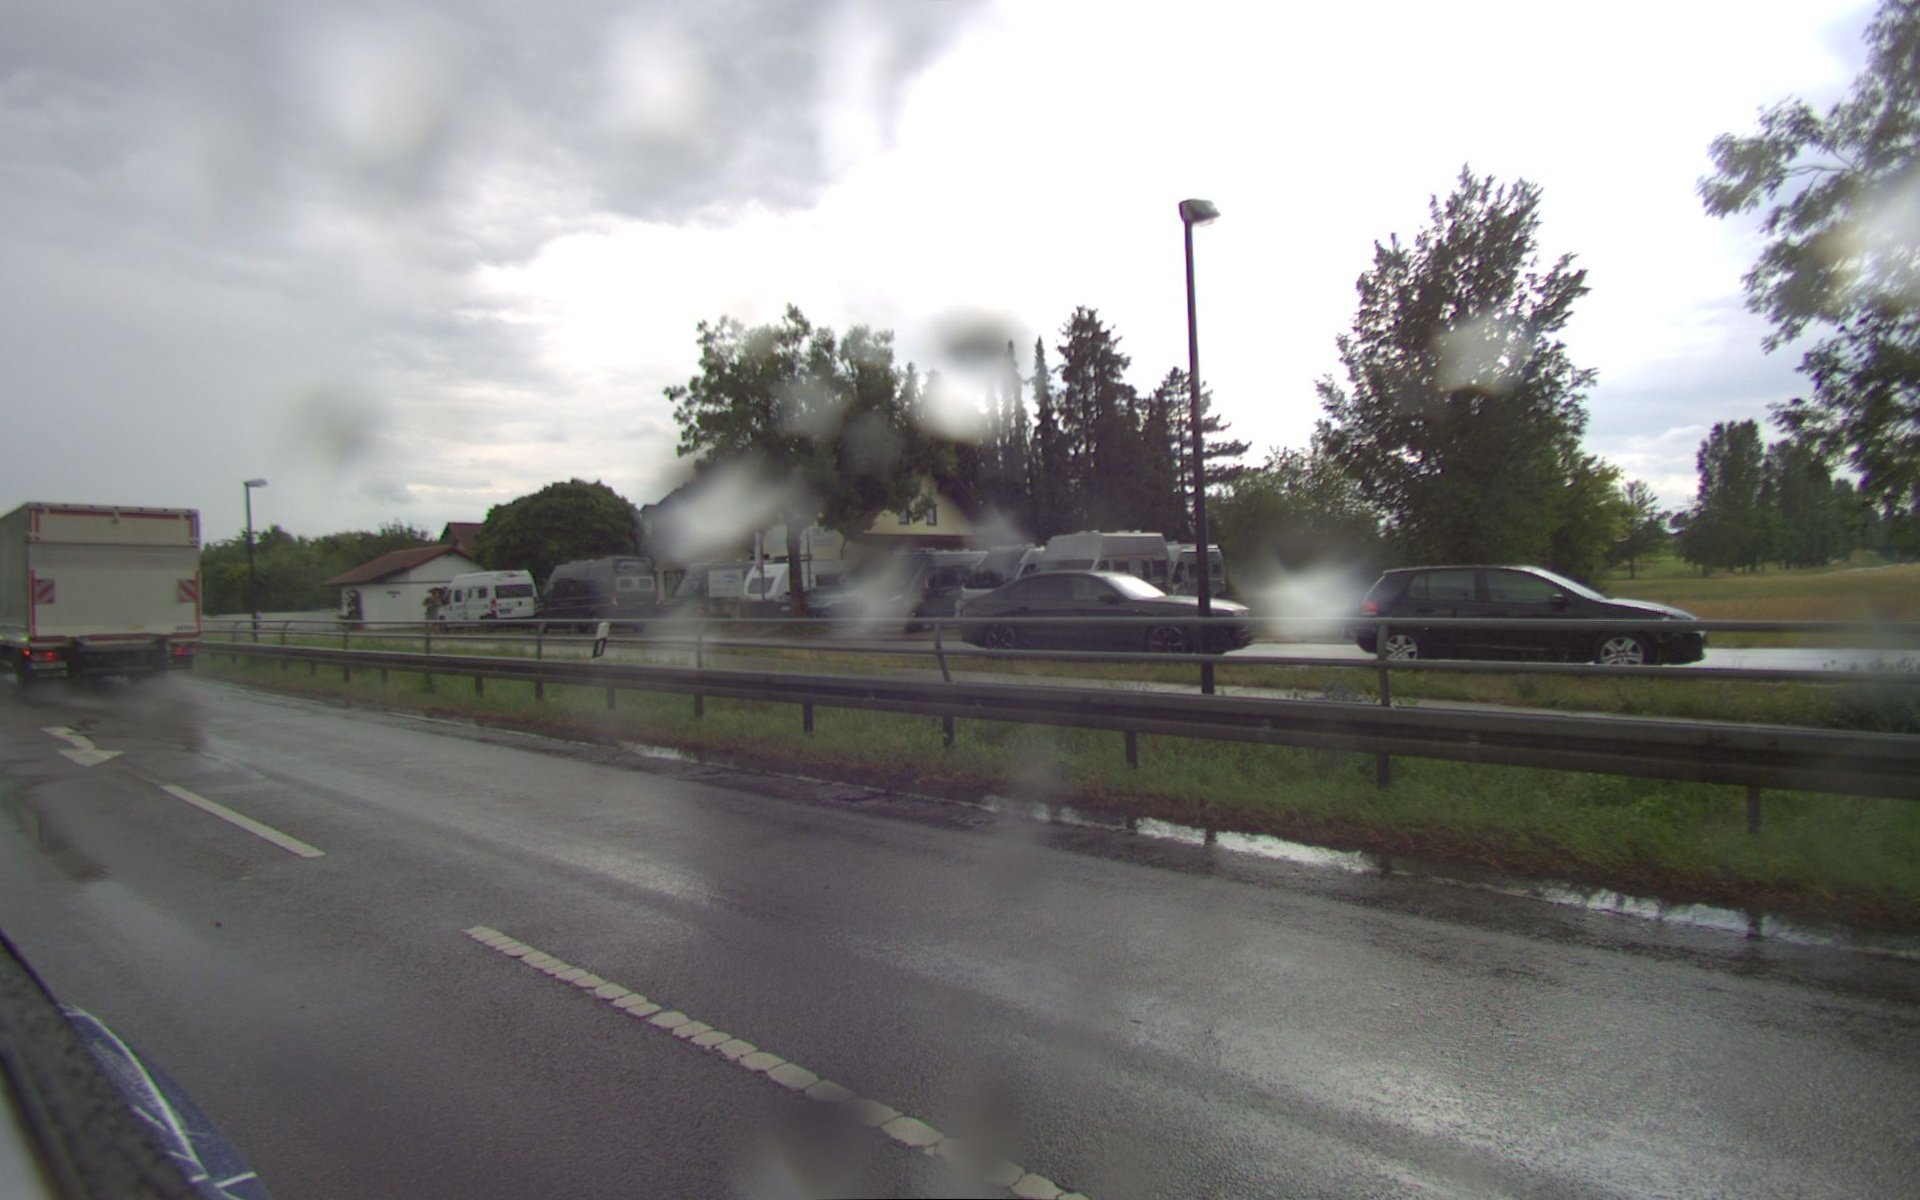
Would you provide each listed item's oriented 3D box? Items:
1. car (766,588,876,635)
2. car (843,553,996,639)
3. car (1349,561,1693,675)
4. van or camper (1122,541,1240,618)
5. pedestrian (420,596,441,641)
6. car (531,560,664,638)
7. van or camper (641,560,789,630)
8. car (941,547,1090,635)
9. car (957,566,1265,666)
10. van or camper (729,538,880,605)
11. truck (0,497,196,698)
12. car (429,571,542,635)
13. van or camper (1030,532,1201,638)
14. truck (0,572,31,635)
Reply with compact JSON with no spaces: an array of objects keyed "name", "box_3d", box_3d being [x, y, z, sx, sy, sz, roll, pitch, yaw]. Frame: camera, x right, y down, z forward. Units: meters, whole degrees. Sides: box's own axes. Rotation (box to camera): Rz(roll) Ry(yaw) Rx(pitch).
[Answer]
[{"name":"car","box_3d":[-4.934,0.384,36.400,1.539,1.507,3.845,-1,1,40]},{"name":"car","box_3d":[-1.187,-0.186,32.324,1.997,2.520,5.134,-2,1,38]},{"name":"car","box_3d":[7.417,0.257,13.579,3.891,1.341,1.271,-2,-1,37]},{"name":"van or camper","box_3d":[8.301,-0.800,37.604,1.997,2.609,5.751,-2,1,37]},{"name":"pedestrian","box_3d":[-20.580,0.713,39.330,0.509,1.723,0.651,-2,1,-41]},{"name":"car","box_3d":[-14.083,-0.022,39.182,5.570,2.783,2.358,-1,1,41]},{"name":"van or camper","box_3d":[-10.671,-0.264,44.507,2.432,2.822,5.994,-2,1,39]},{"name":"car","box_3d":[1.809,-0.311,31.073,1.997,2.477,5.044,-2,1,38]},{"name":"car","box_3d":[2.445,0.288,17.350,5.112,1.502,1.502,-2,-1,36]},{"name":"van or camper","box_3d":[-6.507,-1.238,43.145,2.559,2.611,6.162,-2,1,39]},{"name":"truck","box_3d":[-19.044,0.046,21.628,9.552,3.478,2.549,-2,-1,42]},{"name":"car","box_3d":[-21.127,0.161,44.916,6.016,2.600,2.214,-1,1,41]},{"name":"van or camper","box_3d":[4.532,-0.472,28.635,2.079,2.697,5.817,-2,1,39]},{"name":"truck","box_3d":[-80.033,0.370,84.030,7.778,5.071,3.216,-1,1,40]}]
